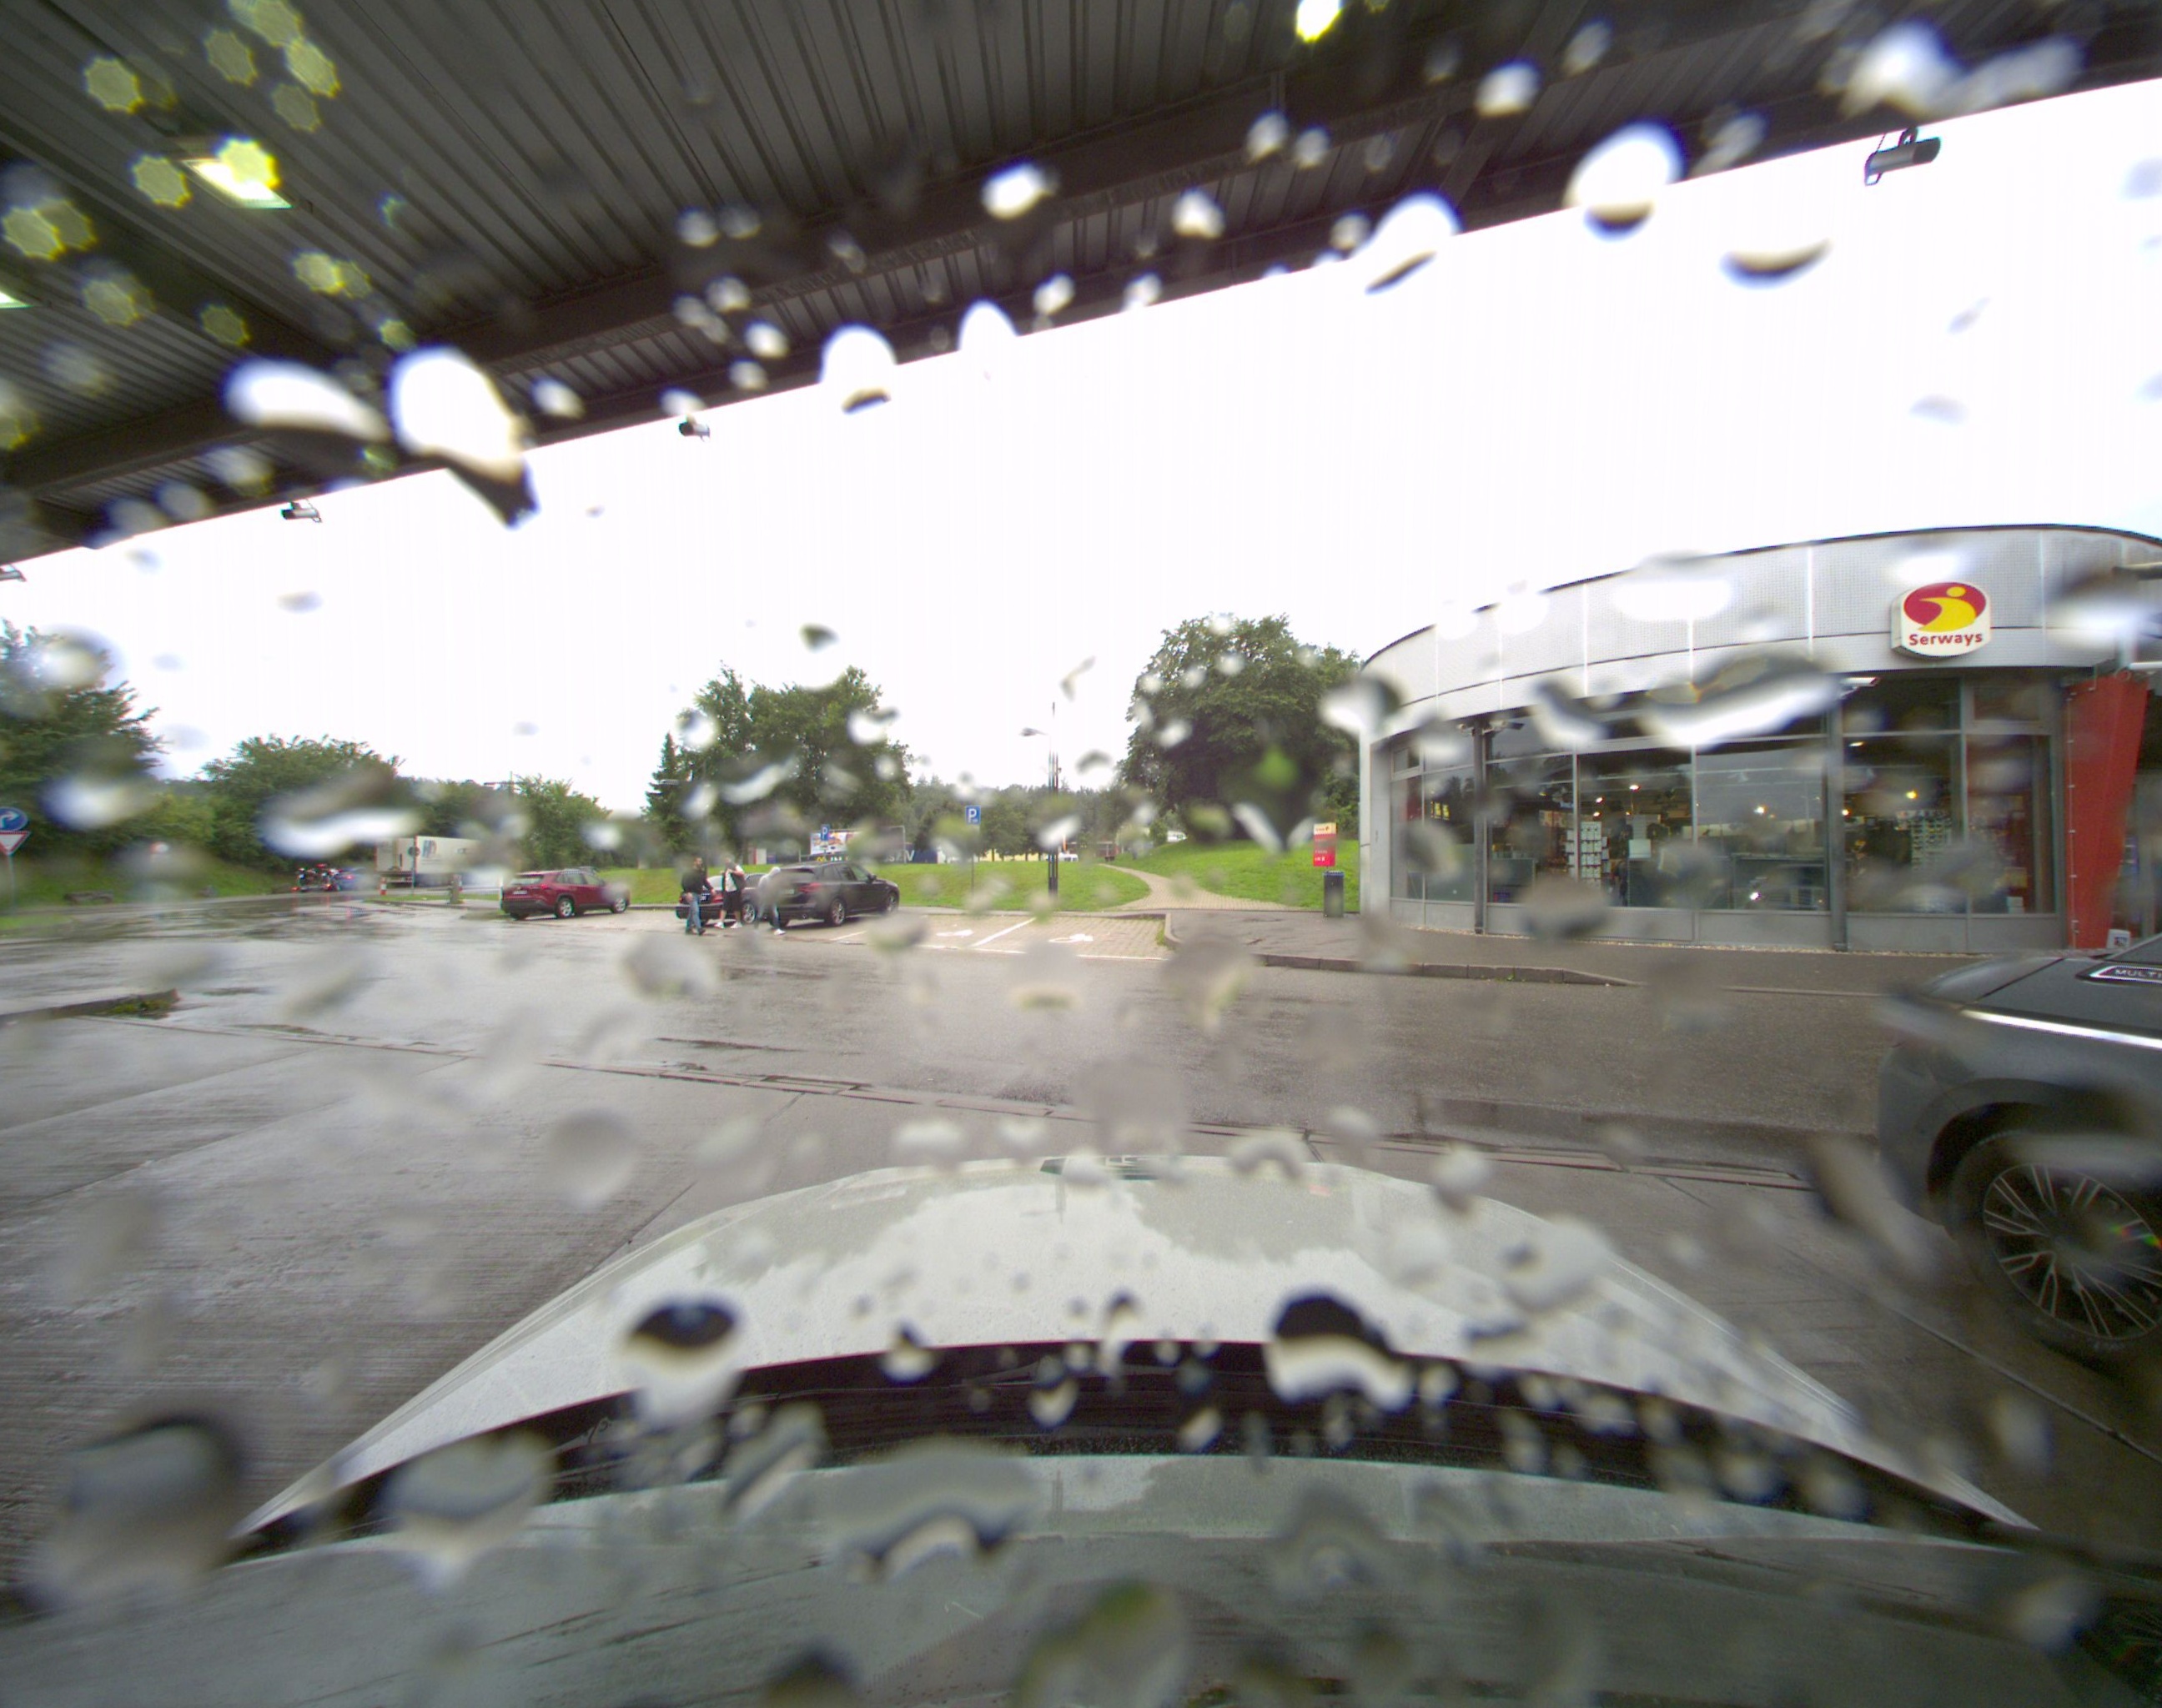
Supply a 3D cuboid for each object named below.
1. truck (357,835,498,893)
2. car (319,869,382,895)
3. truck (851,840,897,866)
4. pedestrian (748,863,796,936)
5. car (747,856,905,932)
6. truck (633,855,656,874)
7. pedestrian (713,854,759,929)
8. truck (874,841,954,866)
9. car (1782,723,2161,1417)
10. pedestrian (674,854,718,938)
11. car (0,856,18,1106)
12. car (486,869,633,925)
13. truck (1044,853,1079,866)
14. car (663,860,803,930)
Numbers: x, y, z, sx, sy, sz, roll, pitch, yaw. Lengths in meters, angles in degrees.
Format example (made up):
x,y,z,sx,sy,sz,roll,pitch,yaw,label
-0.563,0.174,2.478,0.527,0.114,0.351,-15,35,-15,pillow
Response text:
x,y,z,sx,sy,sz,roll,pitch,yaw,label
-55.434,0.849,69.998,3.550,4.340,16.899,0,-1,-18,truck
-50.333,1.888,56.194,1.814,1.681,3.927,0,-1,-18,car
-24.172,-0.083,95.474,2.165,2.920,5.419,-1,-1,27,truck
-7.194,1.041,18.940,0.942,1.631,0.708,-1,-1,44,pedestrian
-6.641,0.973,21.798,2.002,1.711,4.360,-2,0,14,car
-73.759,1.830,137.707,2.486,3.085,7.306,0,-1,-20,truck
-8.880,0.947,20.995,0.698,1.887,0.956,-1,-1,8,pedestrian
-20.739,-0.052,102.366,2.165,2.920,13.175,-1,-1,26,truck
3.681,0.544,0.695,1.854,1.798,5.142,0,-1,2,car
-8.999,0.953,19.018,0.708,1.887,0.883,0,-1,-42,pedestrian
-7.961,0.805,2.694,1.854,1.608,5.273,0,-1,2,car
-18.129,1.445,28.611,1.928,1.644,4.352,-2,0,7,car
-3.233,0.878,134.123,5.356,2.014,2.381,-1,-1,26,truck
-9.827,1.084,23.442,2.010,1.711,4.344,-2,0,1,car
